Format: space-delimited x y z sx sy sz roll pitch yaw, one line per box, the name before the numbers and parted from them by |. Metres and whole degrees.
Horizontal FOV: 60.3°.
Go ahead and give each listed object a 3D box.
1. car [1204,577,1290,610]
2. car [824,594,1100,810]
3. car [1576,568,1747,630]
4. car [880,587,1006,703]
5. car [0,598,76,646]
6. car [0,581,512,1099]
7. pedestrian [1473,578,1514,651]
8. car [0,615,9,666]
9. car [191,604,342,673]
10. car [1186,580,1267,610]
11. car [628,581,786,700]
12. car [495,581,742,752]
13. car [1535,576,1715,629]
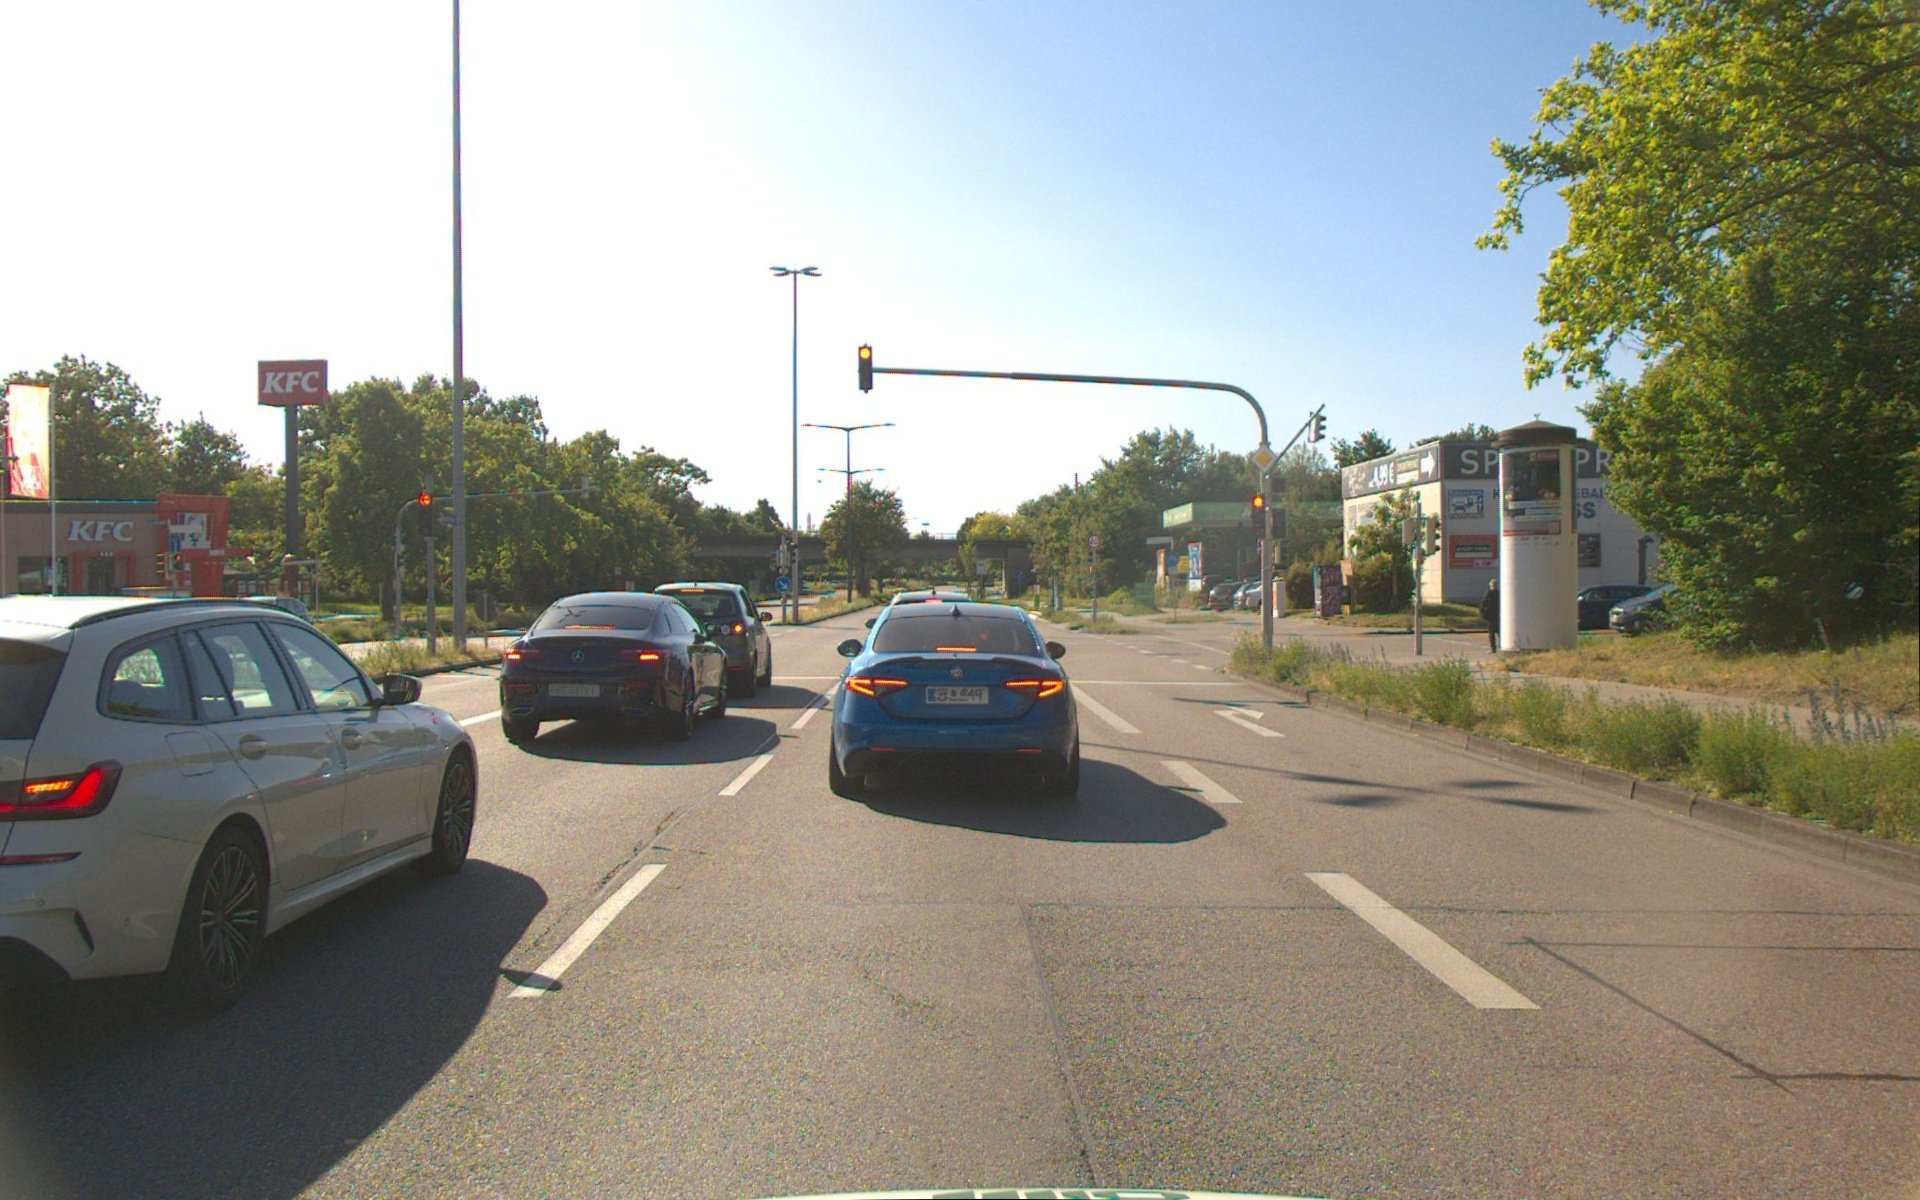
car | 14.184 -0.309 81.886 3.905 1.579 2.000 1 0 0
car | 0.046 0.709 13.185 1.870 1.447 3.719 1 0 1
car | 20.051 -0.021 47.356 4.219 1.678 1.638 1 0 -2
car | -0.194 0.613 24.086 1.669 1.523 3.719 1 0 1
car | -35.758 0.832 63.631 4.026 1.770 1.922 1 -1 43
car | -3.425 0.704 7.126 1.775 1.512 4.595 1 0 -1
pedestrian | 12.584 0.351 39.018 0.800 1.698 0.514 1 -1 -1
car | -31.935 1.244 51.319 3.690 1.586 1.996 1 0 -9
car | -19.242 1.021 46.089 1.764 1.756 4.326 0 1 11
car | 14.553 -0.275 90.411 3.925 1.579 1.990 1 0 -18
car | -3.624 0.552 24.382 1.776 1.578 4.351 1 0 -2
car | -3.465 0.607 17.625 1.775 1.578 4.542 0 0 -1
car | 20.001 0.092 49.841 4.722 1.493 1.758 1 0 -3
